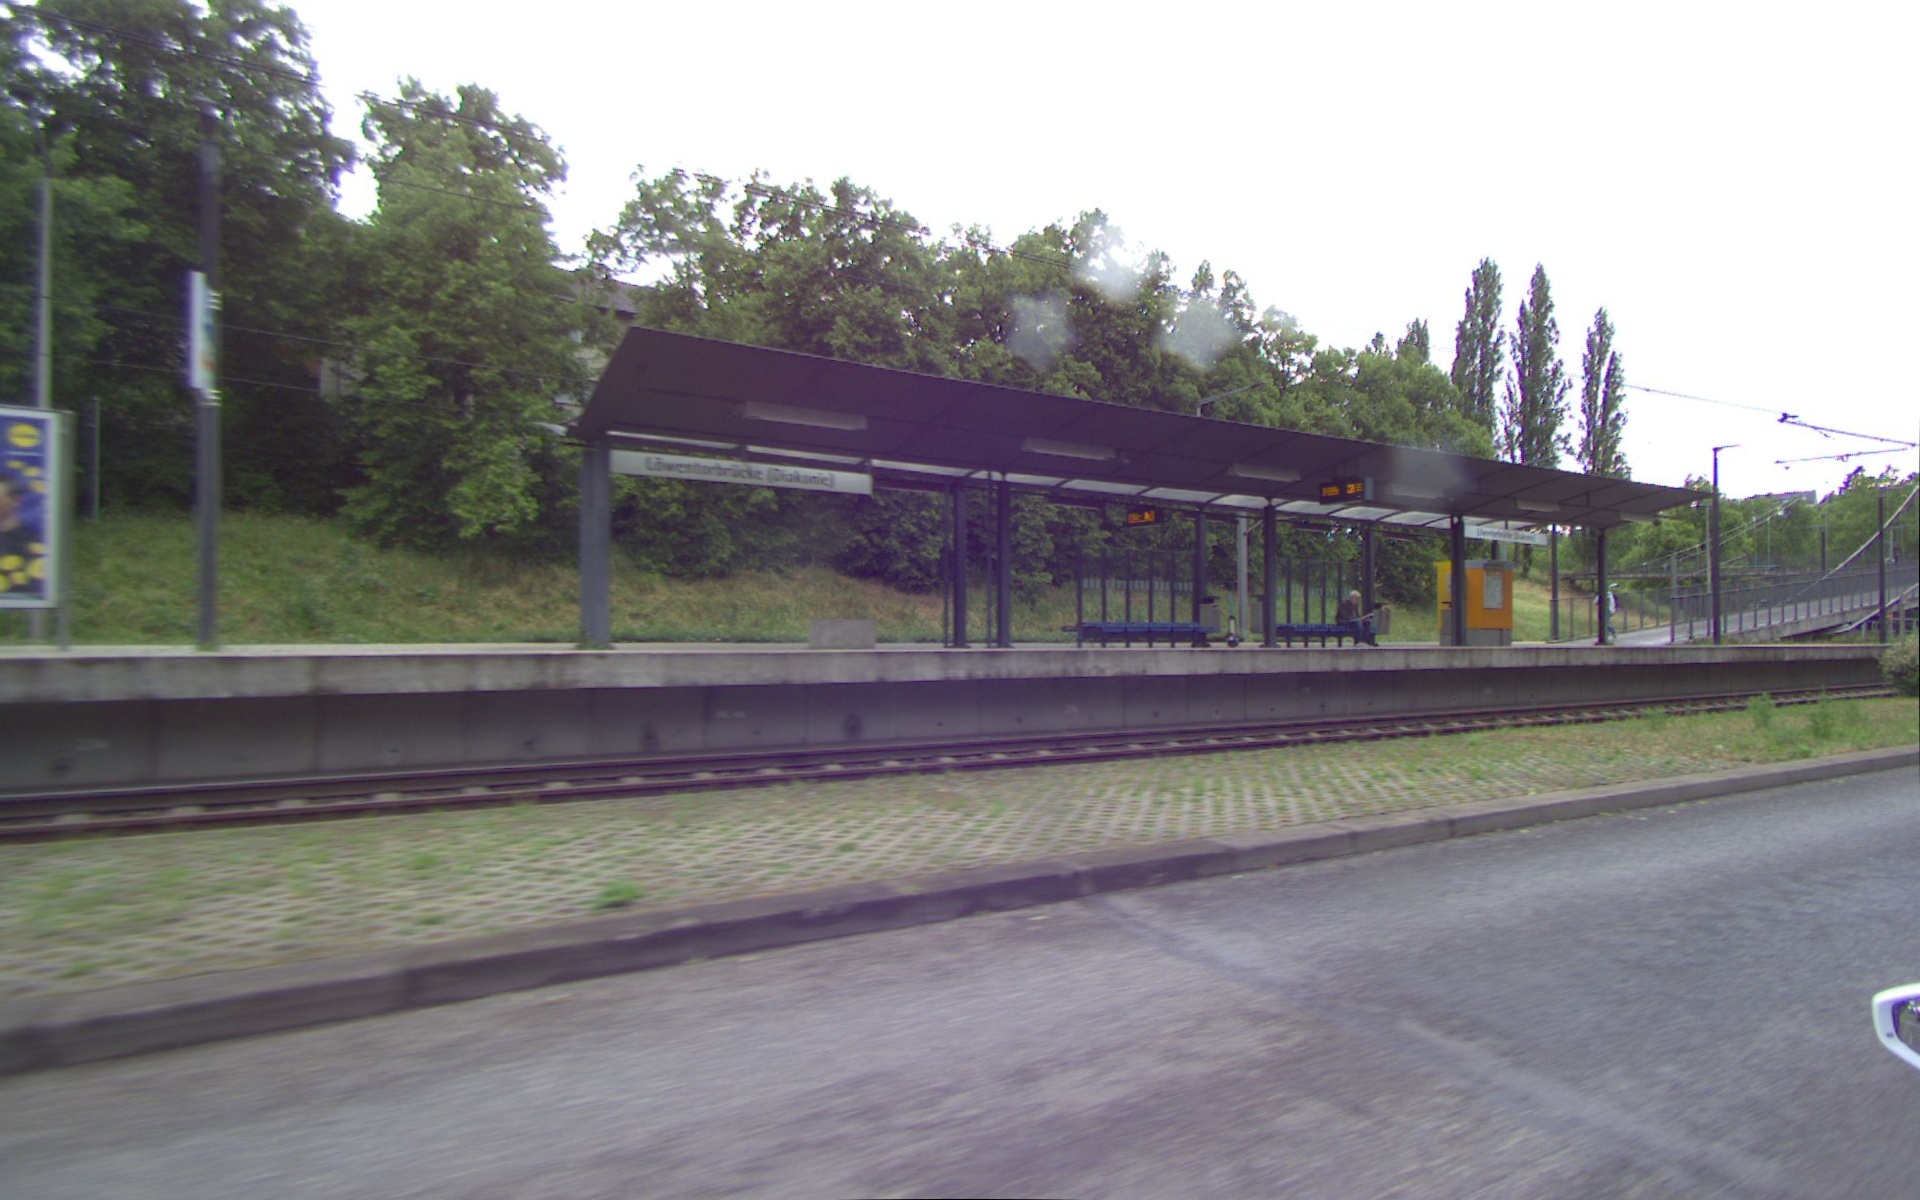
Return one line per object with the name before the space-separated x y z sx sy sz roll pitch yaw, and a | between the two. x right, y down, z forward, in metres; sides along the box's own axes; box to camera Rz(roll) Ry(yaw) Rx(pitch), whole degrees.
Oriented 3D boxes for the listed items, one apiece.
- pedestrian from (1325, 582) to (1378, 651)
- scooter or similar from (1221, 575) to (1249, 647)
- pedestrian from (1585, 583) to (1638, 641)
pedestrian | 7.981 0.328 20.492 0.685 1.373 0.748 2 -1 -34
scooter or similar | 4.952 0.198 18.131 0.372 1.234 1.301 3 0 13
pedestrian | 18.651 0.347 28.750 1.016 1.632 0.929 2 -1 -34
